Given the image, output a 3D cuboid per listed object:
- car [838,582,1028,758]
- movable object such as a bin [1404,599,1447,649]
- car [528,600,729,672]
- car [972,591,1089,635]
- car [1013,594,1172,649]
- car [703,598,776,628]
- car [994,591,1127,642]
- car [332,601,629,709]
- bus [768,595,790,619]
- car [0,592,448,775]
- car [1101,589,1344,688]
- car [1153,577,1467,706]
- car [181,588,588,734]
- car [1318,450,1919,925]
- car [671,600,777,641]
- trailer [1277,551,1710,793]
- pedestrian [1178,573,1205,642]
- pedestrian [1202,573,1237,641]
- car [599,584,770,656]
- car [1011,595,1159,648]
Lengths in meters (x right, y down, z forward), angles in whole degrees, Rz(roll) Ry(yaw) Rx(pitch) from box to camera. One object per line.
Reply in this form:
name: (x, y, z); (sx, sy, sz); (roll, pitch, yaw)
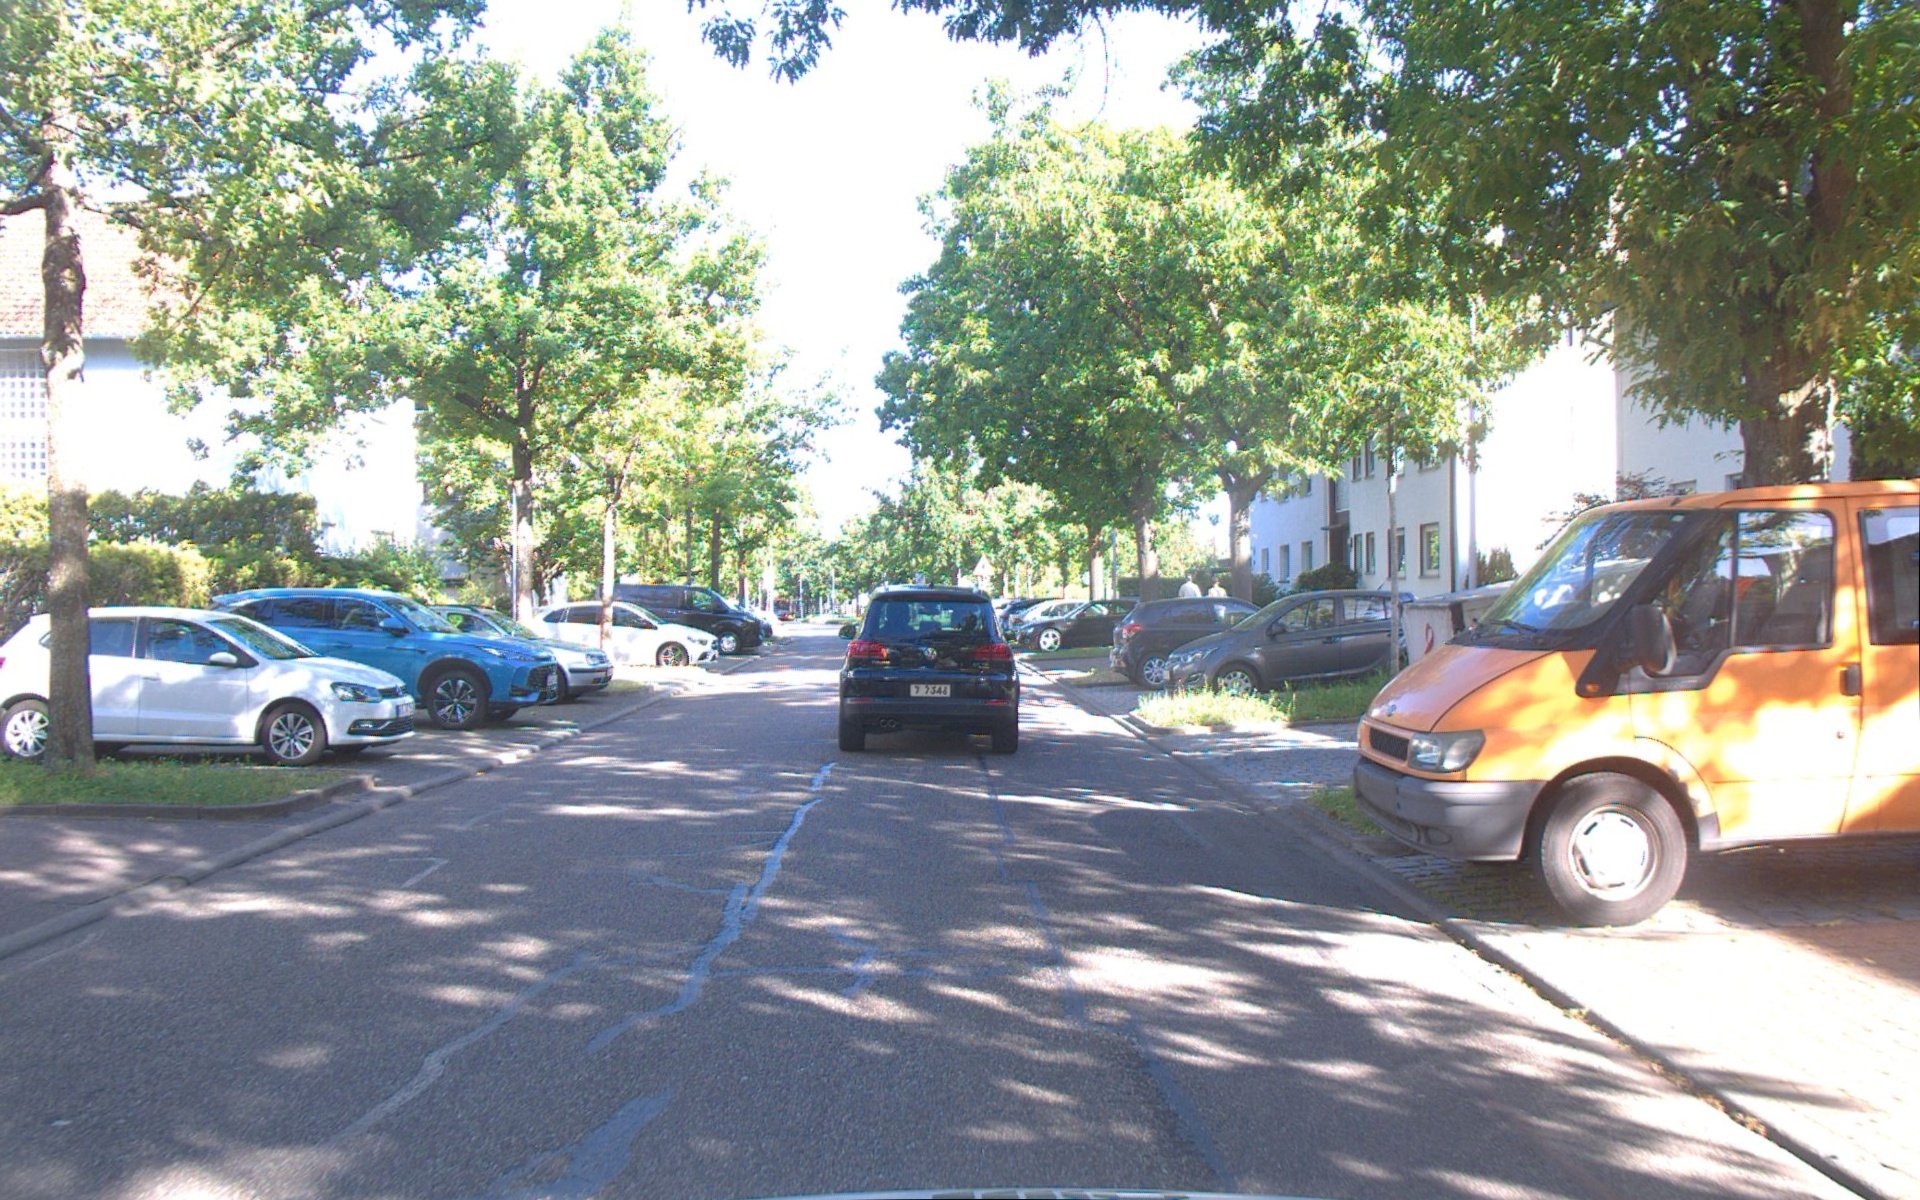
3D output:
car: (-0.227, 0.671, 17.715); (1.800, 1.665, 3.958); (0, 0, 1)
movable object such as a bin: (10.612, 0.540, 37.719); (0.689, 1.118, 0.905); (-1, -1, -3)
car: (-7.469, 0.806, 37.540); (4.189, 1.504, 1.768); (-1, 0, -2)
car: (2.654, 0.471, 63.015); (4.339, 1.517, 1.796); (-2, 0, -2)
car: (3.698, 0.590, 46.590); (4.259, 1.386, 1.872); (-2, -1, -2)
car: (-12.838, 0.746, 96.494); (4.161, 1.651, 1.894); (-1, -1, -7)
car: (3.257, 0.520, 54.271); (4.190, 1.529, 1.796); (-2, 0, -2)
car: (-7.346, 0.835, 25.626); (4.097, 1.518, 1.646); (-1, -1, -1)
bus: (-24.693, 0.953, 225.365); (2.872, 3.056, 5.729); (-1, -1, -6)
car: (-7.322, 0.794, 16.383); (3.906, 1.623, 1.857); (-1, -1, -1)
car: (4.365, 0.637, 27.913); (3.803, 1.542, 1.660); (-1, -1, -1)
car: (4.823, 0.563, 23.085); (3.910, 1.652, 1.755); (-1, -1, -6)
car: (-7.138, 0.742, 20.867); (4.432, 1.660, 1.937); (-1, -1, -1)
car: (4.489, 0.360, 8.673); (4.721, 2.120, 2.086); (-2, 0, -1)
car: (-8.937, 0.768, 62.901); (3.779, 1.484, 1.713); (-1, 0, -2)
trailer: (4.276, 0.548, 13.506); (2.890, 1.693, 1.612); (-3, -1, -7)
pedestrian: (6.484, 0.219, 46.323); (0.595, 1.906, 0.923); (-1, -1, 0)
pedestrian: (7.249, 0.202, 46.274); (0.818, 1.860, 0.710); (-1, -1, 0)
car: (-7.930, 0.577, 48.010); (4.684, 1.950, 2.017); (-1, 0, -4)
car: (3.690, 0.634, 49.321); (4.190, 1.439, 1.796); (-2, 0, -2)
